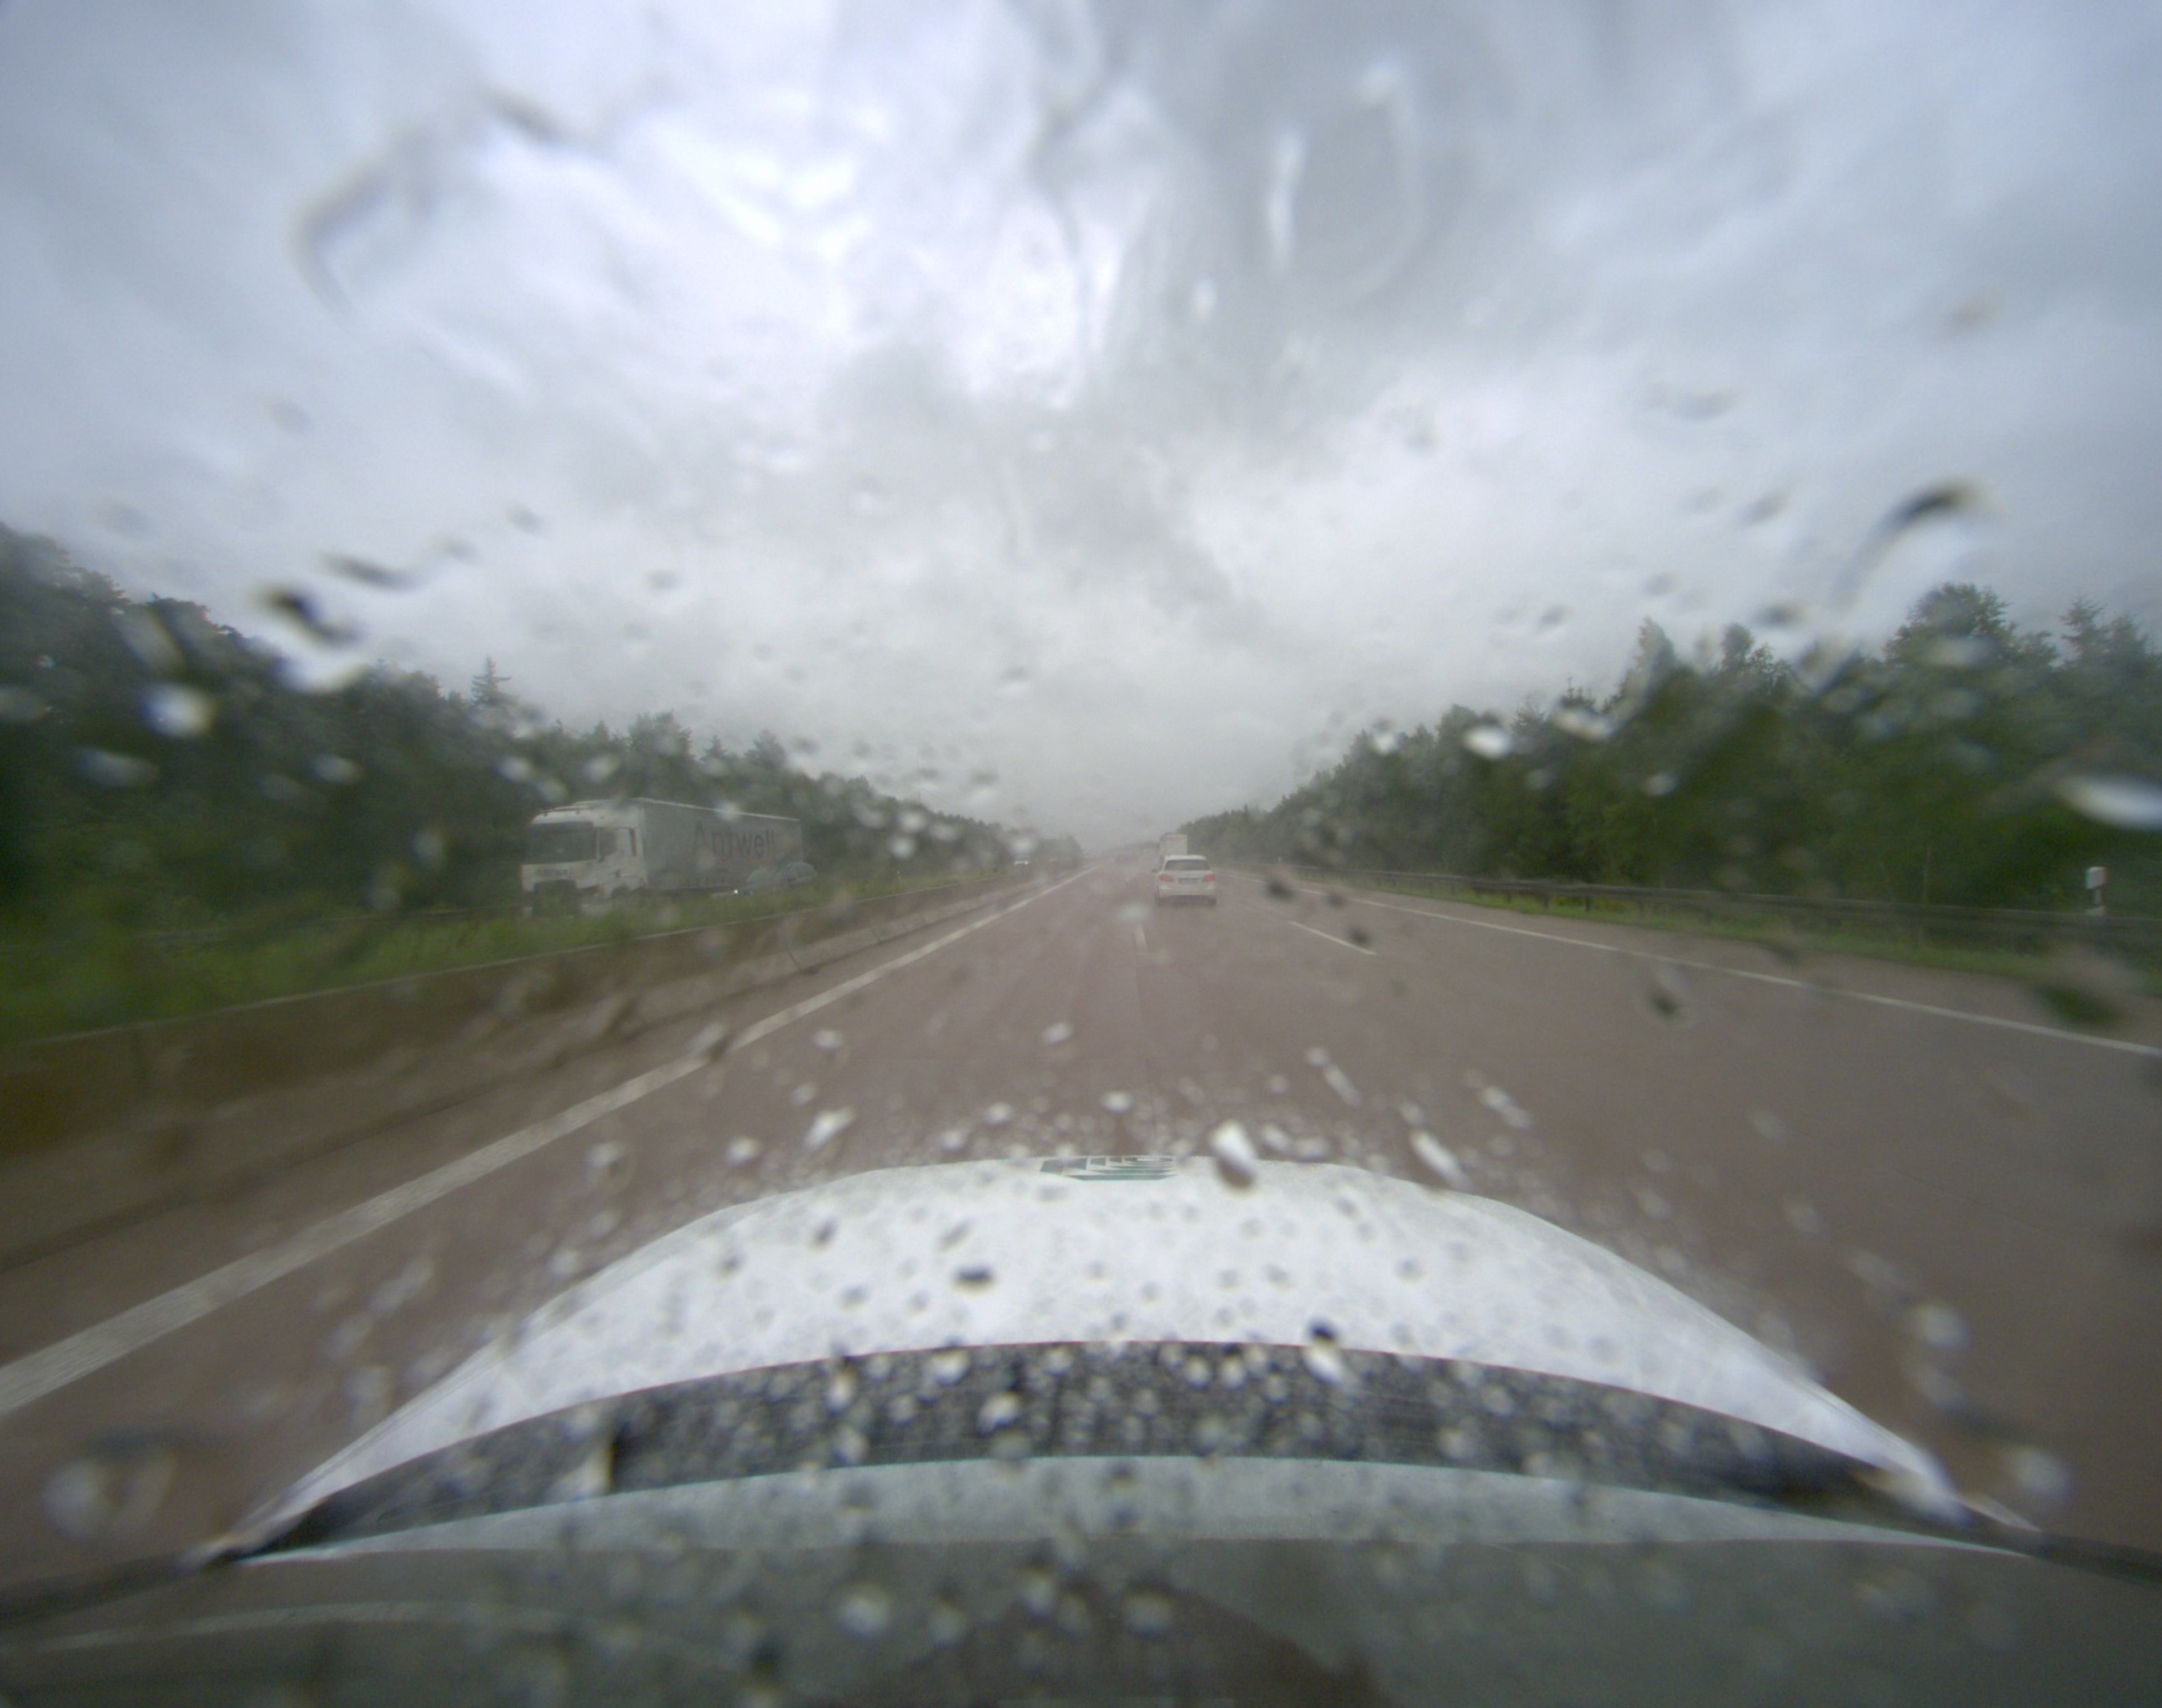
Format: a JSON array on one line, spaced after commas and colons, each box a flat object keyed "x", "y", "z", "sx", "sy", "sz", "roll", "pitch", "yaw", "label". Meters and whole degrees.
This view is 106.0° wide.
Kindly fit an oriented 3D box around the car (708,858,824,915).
[{"x": -11.950, "y": 1.160, "z": 31.360, "sx": 2.298, "sy": 2.013, "sz": 5.154, "roll": -1, "pitch": 0, "yaw": 2, "label": "car"}]

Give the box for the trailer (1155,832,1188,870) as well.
[{"x": 11.135, "y": -0.399, "z": 101.222, "sx": 2.842, "sy": 4.231, "sz": 13.137, "roll": -3, "pitch": 0, "yaw": 2, "label": "trailer"}]

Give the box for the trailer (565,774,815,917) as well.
[{"x": -15.843, "y": -0.279, "z": 35.186, "sx": 3.740, "sy": 4.953, "sz": 13.688, "roll": 0, "pitch": 0, "yaw": 2, "label": "trailer"}]

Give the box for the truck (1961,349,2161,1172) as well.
[{"x": 6.373, "y": -0.435, "z": 0.526, "sx": 3.221, "sy": 3.730, "sz": 7.959, "roll": 0, "pitch": 0, "yaw": 2, "label": "truck"}]

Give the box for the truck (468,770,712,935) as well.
[{"x": -16.127, "y": -0.013, "z": 27.653, "sx": 3.665, "sy": 4.871, "sz": 7.258, "roll": 0, "pitch": -1, "yaw": 2, "label": "truck"}]

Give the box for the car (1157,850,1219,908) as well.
[{"x": 3.409, "y": 0.760, "z": 26.726, "sx": 1.800, "sy": 1.728, "sz": 4.750, "roll": -1, "pitch": 0, "yaw": 5, "label": "car"}]
